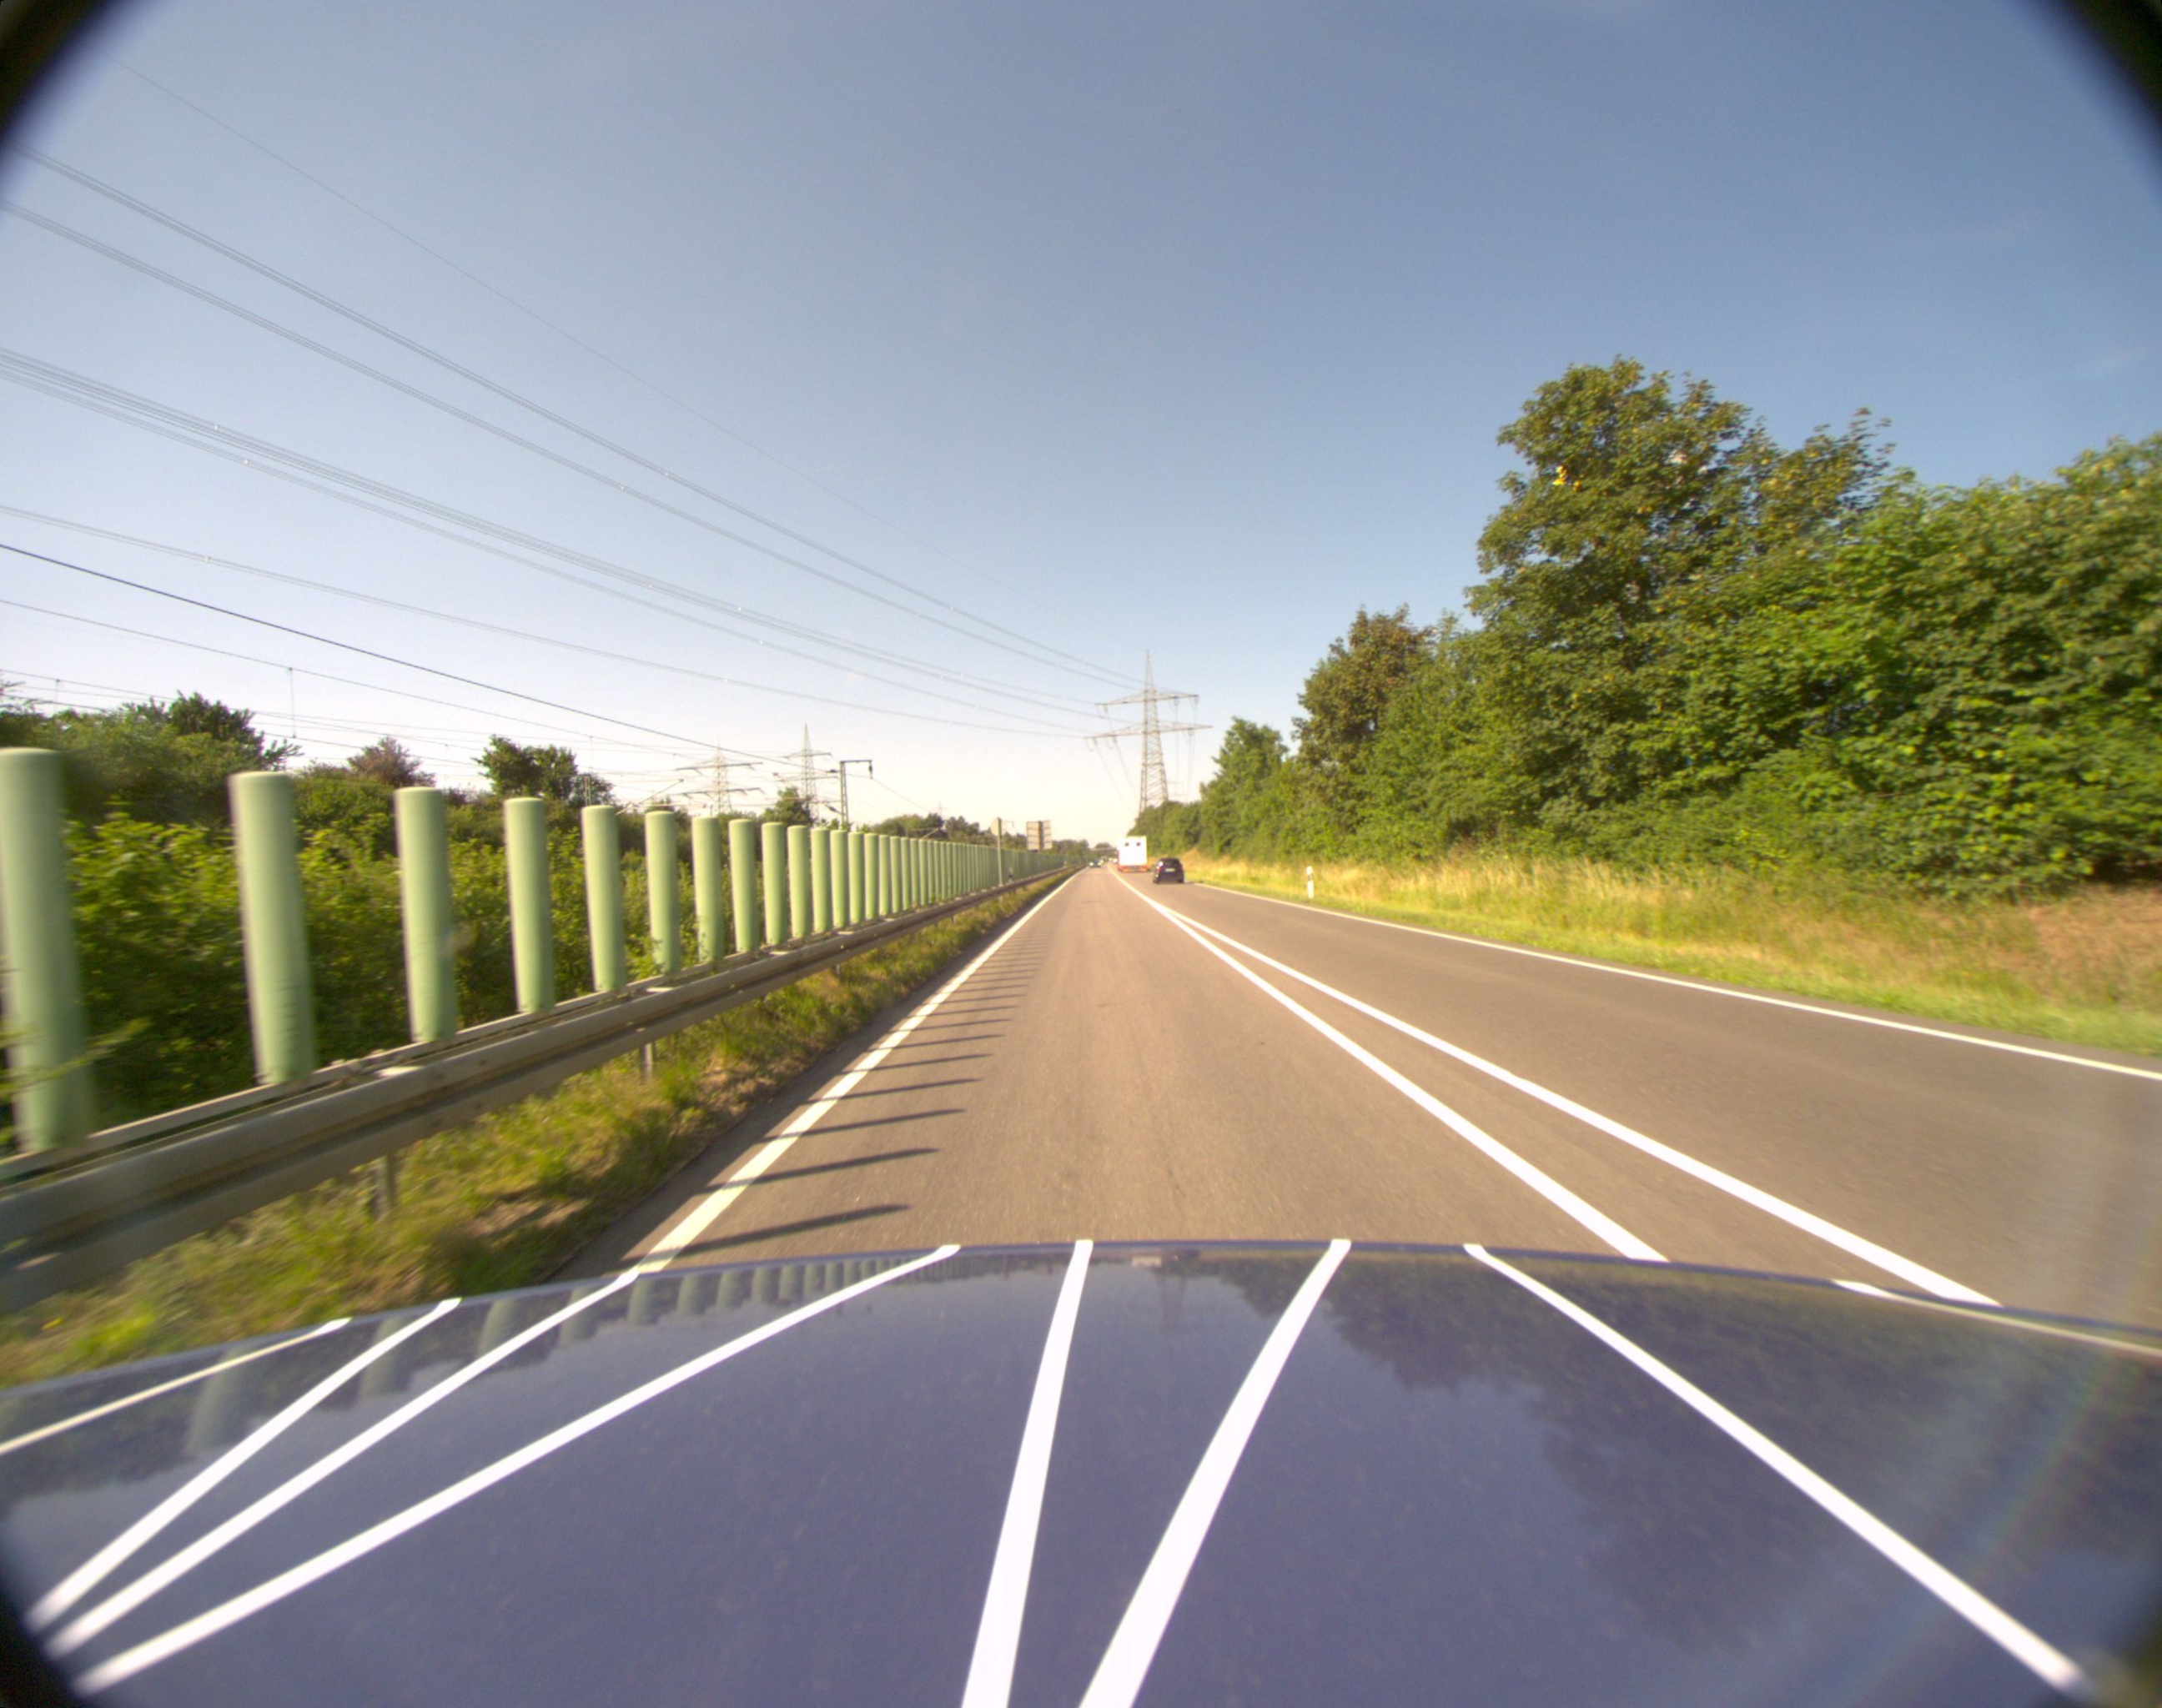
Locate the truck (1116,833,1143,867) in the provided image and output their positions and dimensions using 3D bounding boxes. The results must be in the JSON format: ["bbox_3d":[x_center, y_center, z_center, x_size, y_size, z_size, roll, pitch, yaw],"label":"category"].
[{"bbox_3d":[5.649,-0.447,89.855,2.566,3.667,10.487,-2,0,0],"label":"truck"}]

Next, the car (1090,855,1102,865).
[{"bbox_3d":[2.469,1.027,123.626,1.787,1.550,4.000,-1,0,1],"label":"car"}]

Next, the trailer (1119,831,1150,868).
[{"bbox_3d":[5.582,-0.466,80.473,2.566,3.574,8.292,-2,0,0],"label":"trailer"}]

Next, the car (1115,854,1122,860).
[{"bbox_3d":[9.890,0.768,200.589,1.800,1.584,4.000,-2,0,1],"label":"car"}]

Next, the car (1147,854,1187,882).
[{"bbox_3d":[5.014,0.813,44.958,1.861,1.550,4.000,-1,0,-1],"label":"car"}]
